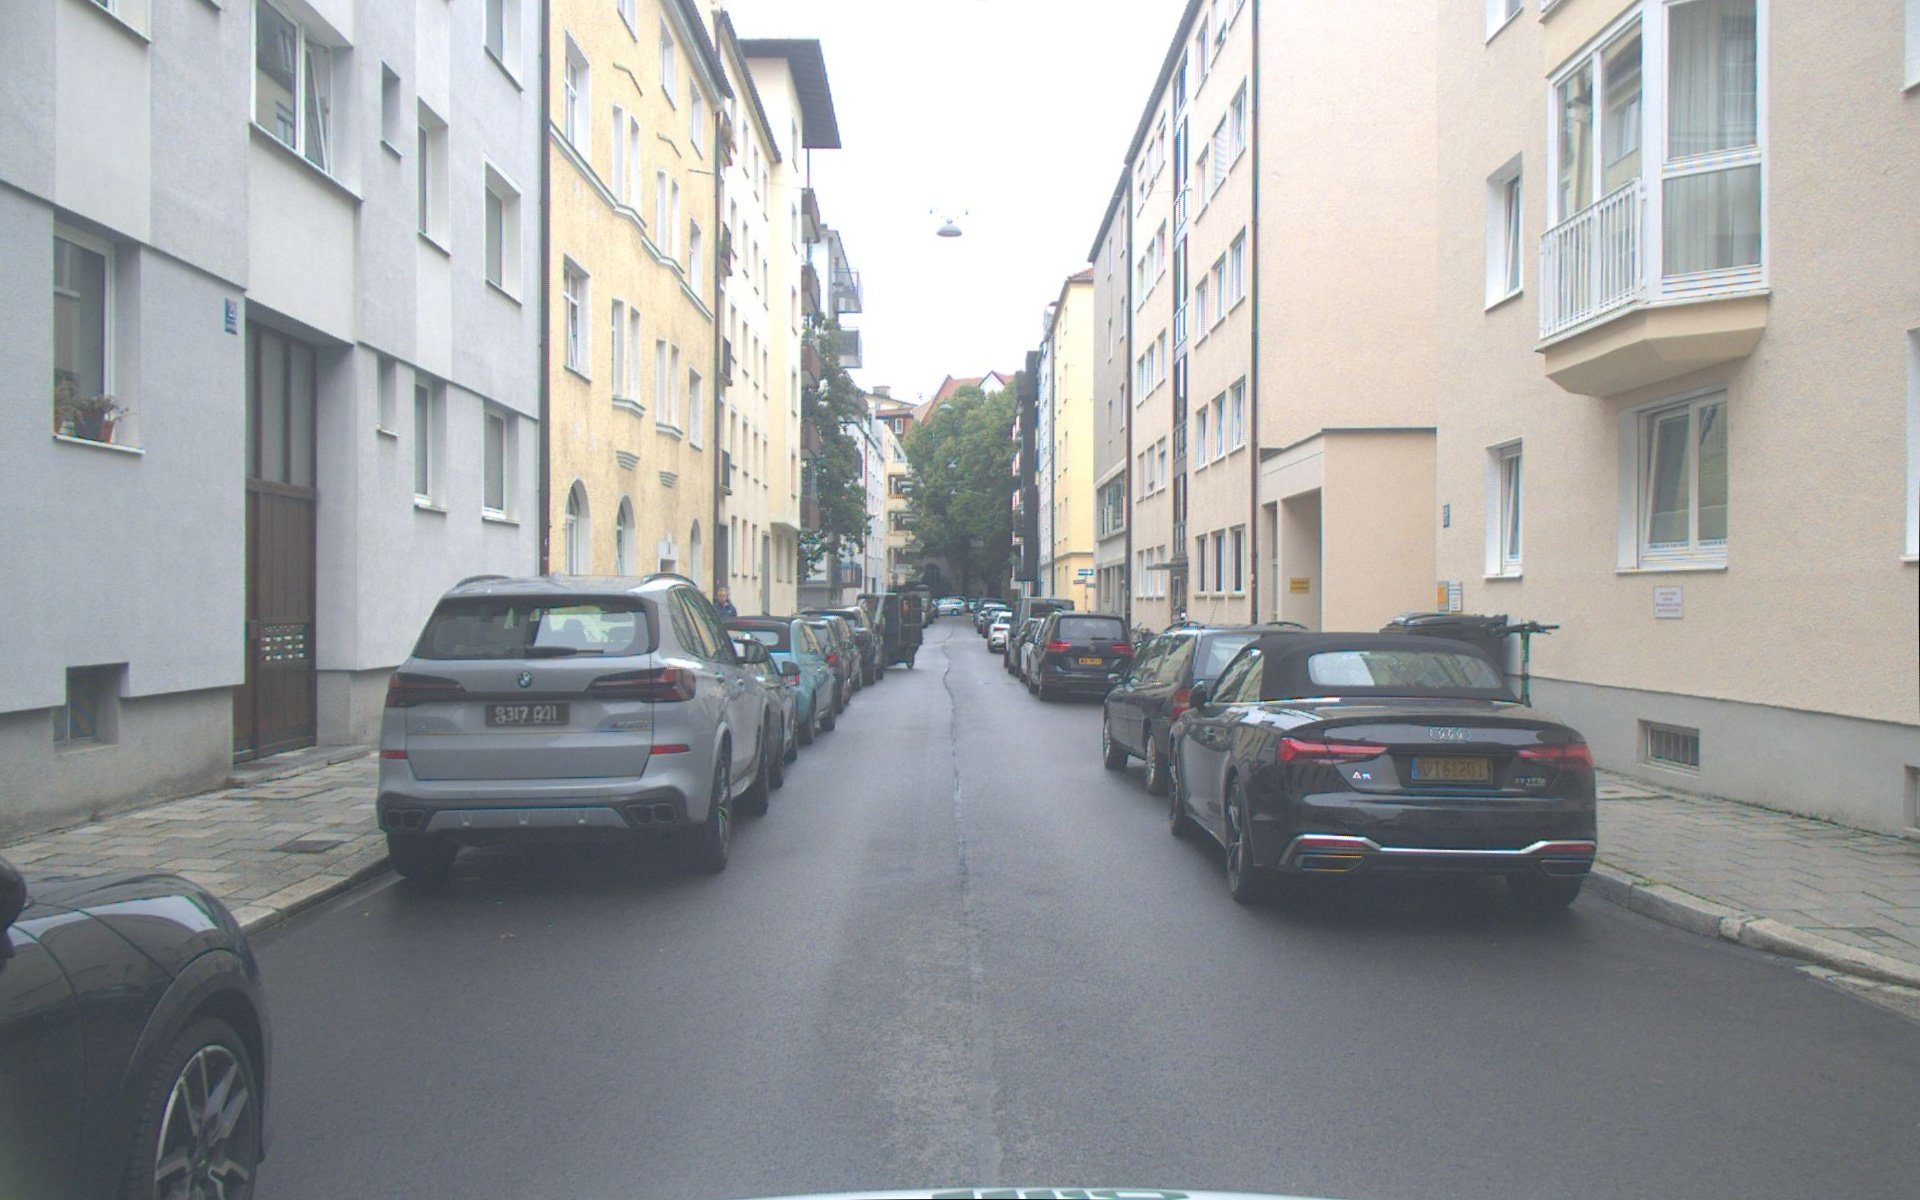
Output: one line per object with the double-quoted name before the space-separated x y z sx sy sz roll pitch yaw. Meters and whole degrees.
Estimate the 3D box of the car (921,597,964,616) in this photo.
"car" -1.608 0.593 151.807 3.807 1.612 1.647 -3 0 -2

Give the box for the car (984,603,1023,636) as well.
"car" 2.111 0.928 81.742 1.715 1.495 4.342 3 0 -1

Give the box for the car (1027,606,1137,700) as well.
"car" 2.247 0.963 31.467 1.677 1.636 4.243 1 -1 -1

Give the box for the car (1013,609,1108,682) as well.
"car" 2.199 0.994 37.200 1.677 1.512 4.242 1 -1 -2

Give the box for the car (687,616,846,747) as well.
"car" -2.370 0.967 20.962 1.530 1.486 3.404 -1 0 1

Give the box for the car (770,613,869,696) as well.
"car" -2.649 1.003 31.818 1.530 1.486 3.476 -1 0 1

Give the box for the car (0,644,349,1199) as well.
"car" -2.341 0.816 2.300 1.618 1.436 3.733 -2 -1 -1

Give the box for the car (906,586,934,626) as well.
"car" -2.994 0.445 123.257 1.897 2.850 4.532 -3 0 -1

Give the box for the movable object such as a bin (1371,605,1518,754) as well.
"movable object such as a bin" 5.042 0.802 17.332 1.011 1.448 1.586 -2 -1 -1

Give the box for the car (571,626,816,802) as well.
"car" -2.450 1.001 16.168 1.775 1.410 4.249 -2 -1 -2

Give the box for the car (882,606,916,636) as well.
"car" -3.074 1.052 84.389 1.659 1.467 3.976 -1 0 -2

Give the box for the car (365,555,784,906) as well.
"car" -2.308 0.716 11.197 1.825 1.801 4.733 -2 -1 -2

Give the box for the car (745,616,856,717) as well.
"car" -2.522 1.021 26.806 1.531 1.486 3.762 -1 0 -2

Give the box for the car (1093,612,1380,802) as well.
"car" 2.409 0.883 15.536 1.682 1.497 4.528 1 -1 -3

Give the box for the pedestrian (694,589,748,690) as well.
"pedestrian" -4.341 0.716 30.093 0.822 1.795 1.067 1 -1 -1

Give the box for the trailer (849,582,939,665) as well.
"trailer" -1.755 0.634 44.844 1.327 2.153 3.319 1 0 19

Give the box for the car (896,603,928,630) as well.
"car" -2.993 1.005 103.533 1.740 1.513 4.519 -3 0 0

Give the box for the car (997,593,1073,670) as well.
"car" 2.065 0.835 46.685 1.716 2.010 4.341 2 0 -2

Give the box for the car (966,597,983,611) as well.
"car" 1.495 0.412 168.801 1.609 1.407 3.745 -3 0 -1

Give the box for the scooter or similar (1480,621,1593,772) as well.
"scooter or similar" 5.175 0.844 14.905 0.564 1.289 1.136 -2 -1 -1

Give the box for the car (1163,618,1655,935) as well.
"car" 2.357 0.843 9.879 1.795 1.431 4.411 1 -1 1

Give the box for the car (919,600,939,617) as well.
"car" -2.674 0.730 141.592 1.609 1.407 3.482 -3 0 -1

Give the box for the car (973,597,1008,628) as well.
"car" 1.674 0.673 91.651 1.648 1.595 4.414 3 0 -2

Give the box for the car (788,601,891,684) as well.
"car" -2.586 0.887 36.453 1.840 1.689 4.415 -1 0 1

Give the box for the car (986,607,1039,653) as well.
"car" 1.928 1.087 61.661 1.782 1.432 3.952 1 2 -1

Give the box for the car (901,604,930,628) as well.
"car" -2.922 1.029 108.639 1.741 1.478 4.045 -3 0 -1
